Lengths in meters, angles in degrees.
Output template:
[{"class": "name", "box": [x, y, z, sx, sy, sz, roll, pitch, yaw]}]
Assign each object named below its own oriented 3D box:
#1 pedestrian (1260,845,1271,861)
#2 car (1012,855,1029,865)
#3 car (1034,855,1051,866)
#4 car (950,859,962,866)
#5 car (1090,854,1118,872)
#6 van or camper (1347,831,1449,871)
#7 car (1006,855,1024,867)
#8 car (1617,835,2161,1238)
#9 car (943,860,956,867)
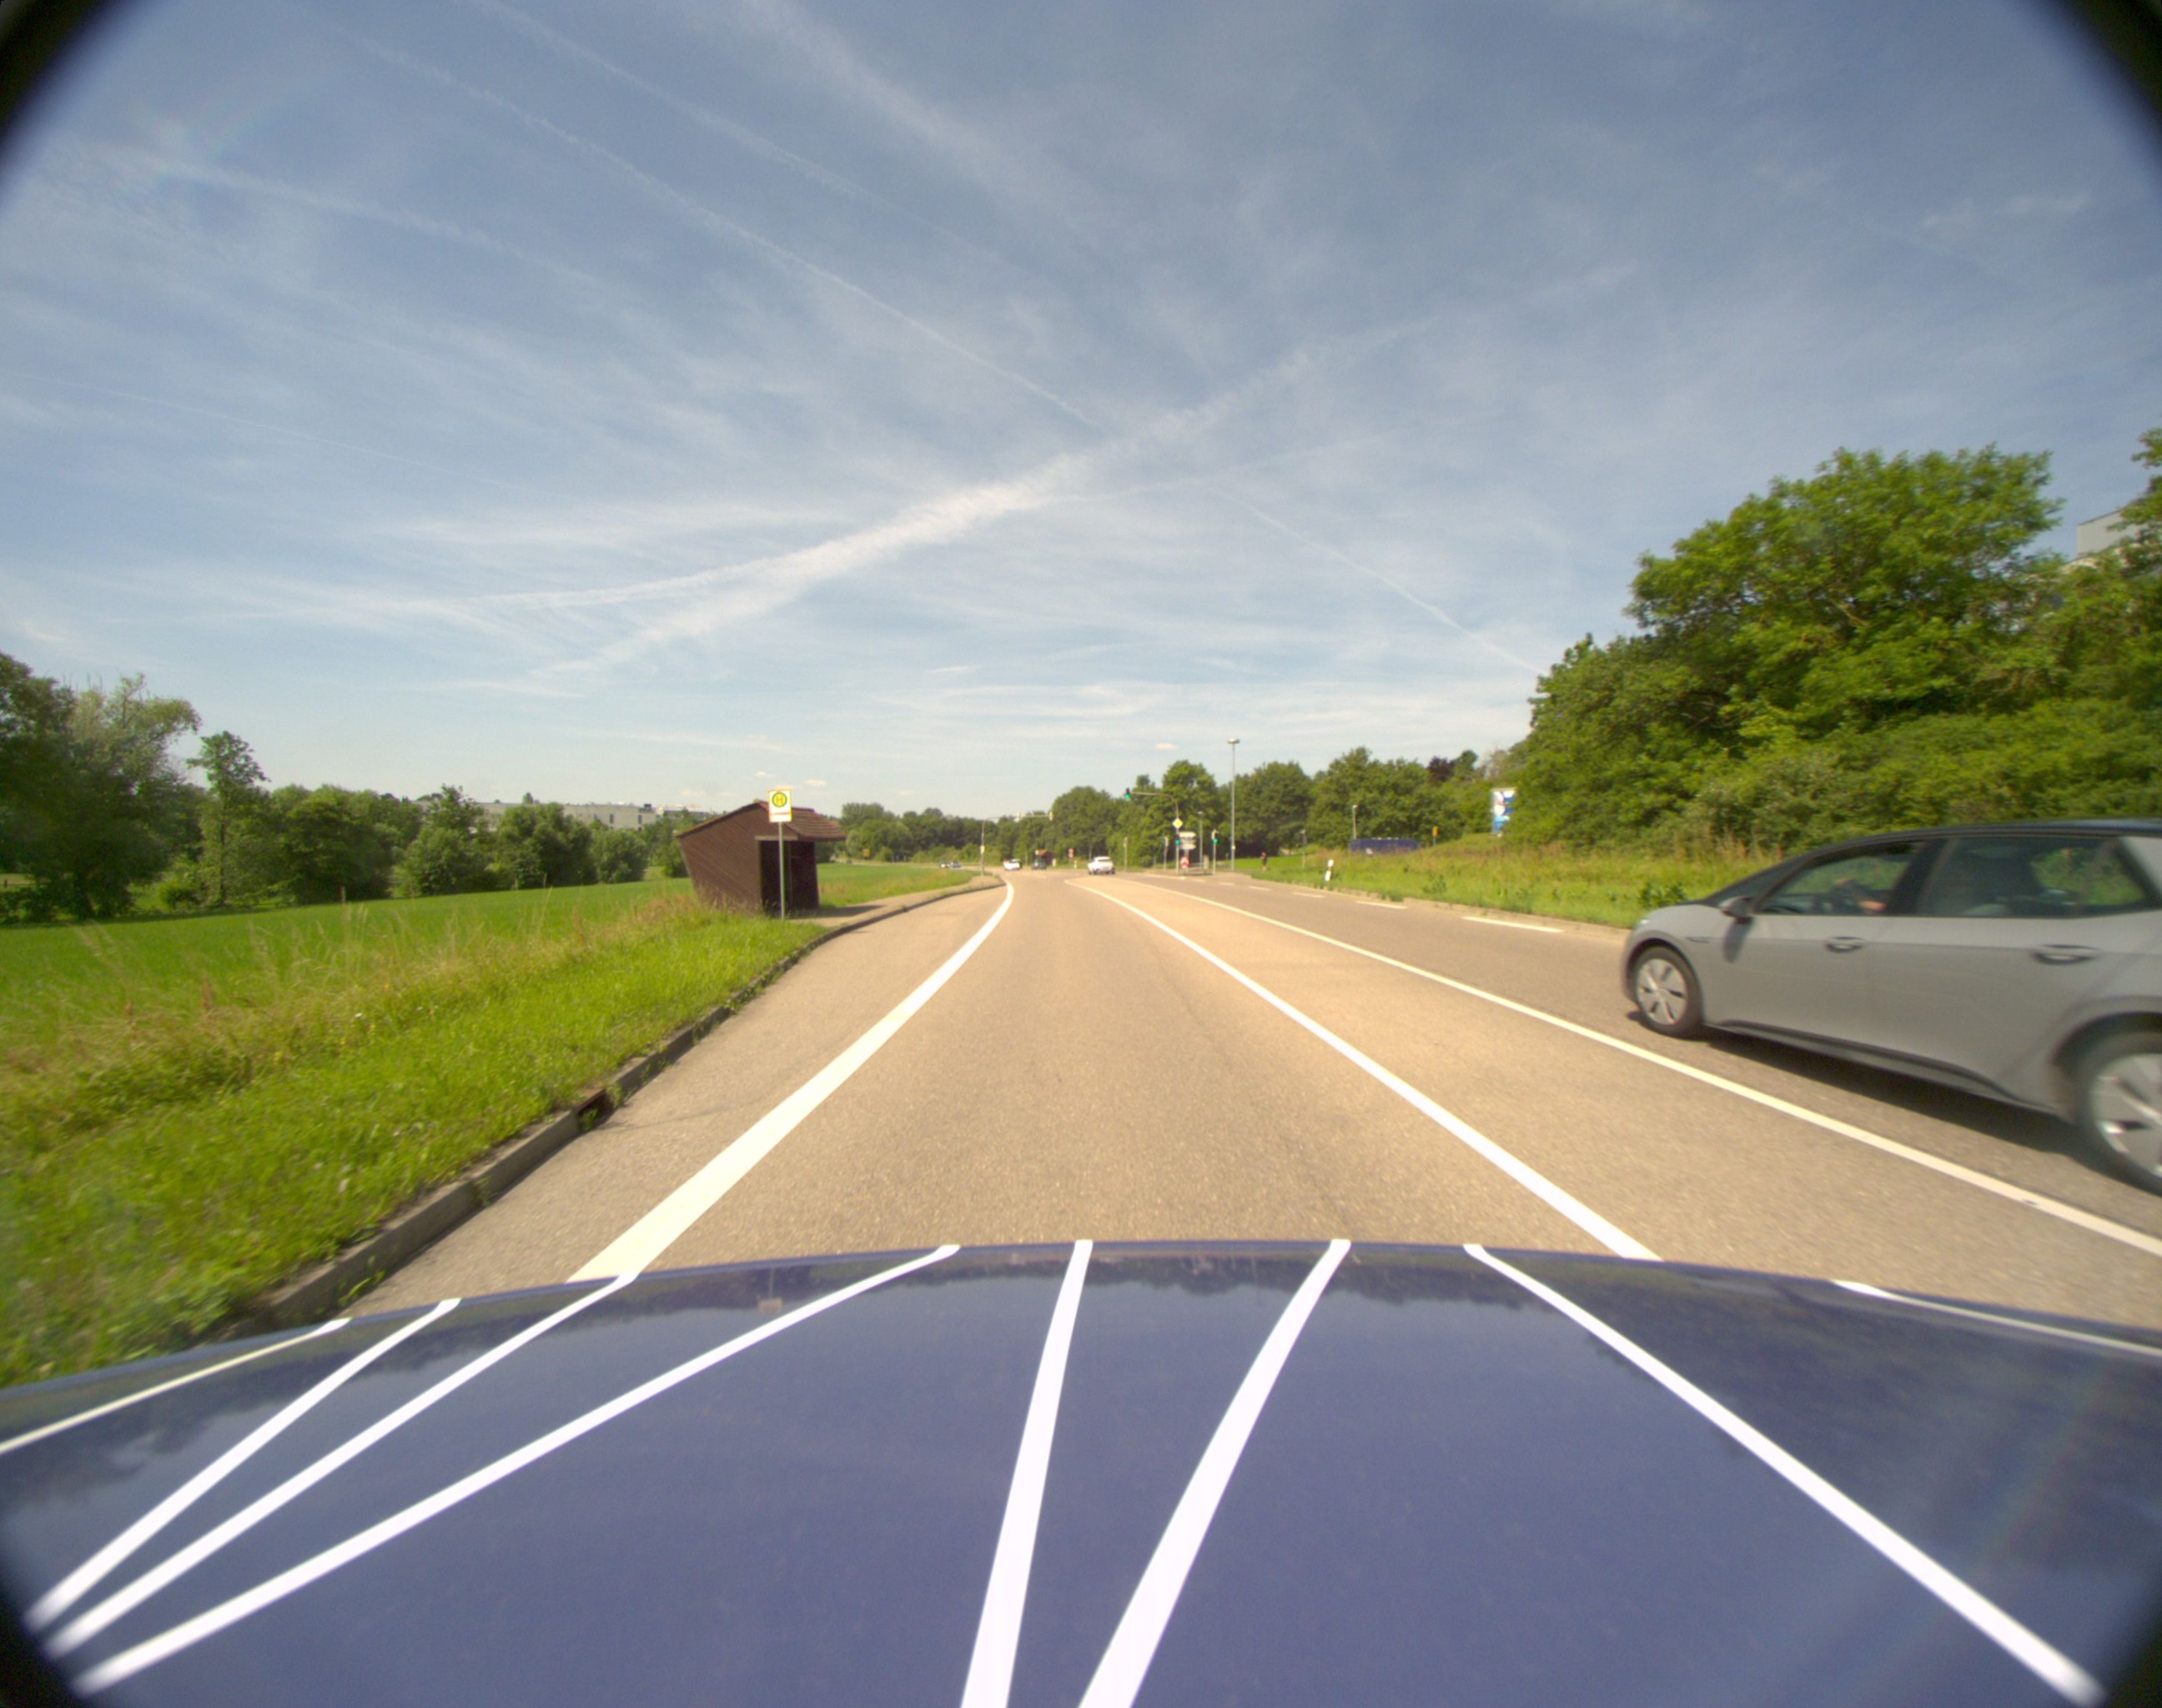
[{"class": "pedestrian", "box": [19.991, -0.125, 82.375, 0.920, 1.726, 0.900, -2, 1, 27]}, {"class": "car", "box": [-10.279, 1.092, 129.258, 1.981, 1.553, 4.183, -3, 0, -15]}, {"class": "car", "box": [-5.619, 1.004, 110.734, 1.713, 1.474, 3.827, -3, 0, -14]}, {"class": "car", "box": [-29.388, 1.995, 178.655, 1.799, 1.465, 4.303, -3, 0, -22]}, {"class": "car", "box": [2.045, 0.791, 69.000, 1.943, 1.539, 4.625, -3, 0, -6]}, {"class": "van or camper", "box": [25.197, -0.180, 60.520, 7.245, 2.896, 2.246, 2, -1, -5]}, {"class": "car", "box": [-9.779, 1.038, 112.621, 2.001, 1.576, 3.995, -3, 0, -14]}, {"class": "car", "box": [5.135, 0.699, 3.990, 1.758, 1.525, 4.229, -3, 0, 3]}, {"class": "car", "box": [-28.667, 2.064, 165.625, 2.002, 1.576, 3.993, -3, 0, -22]}]
